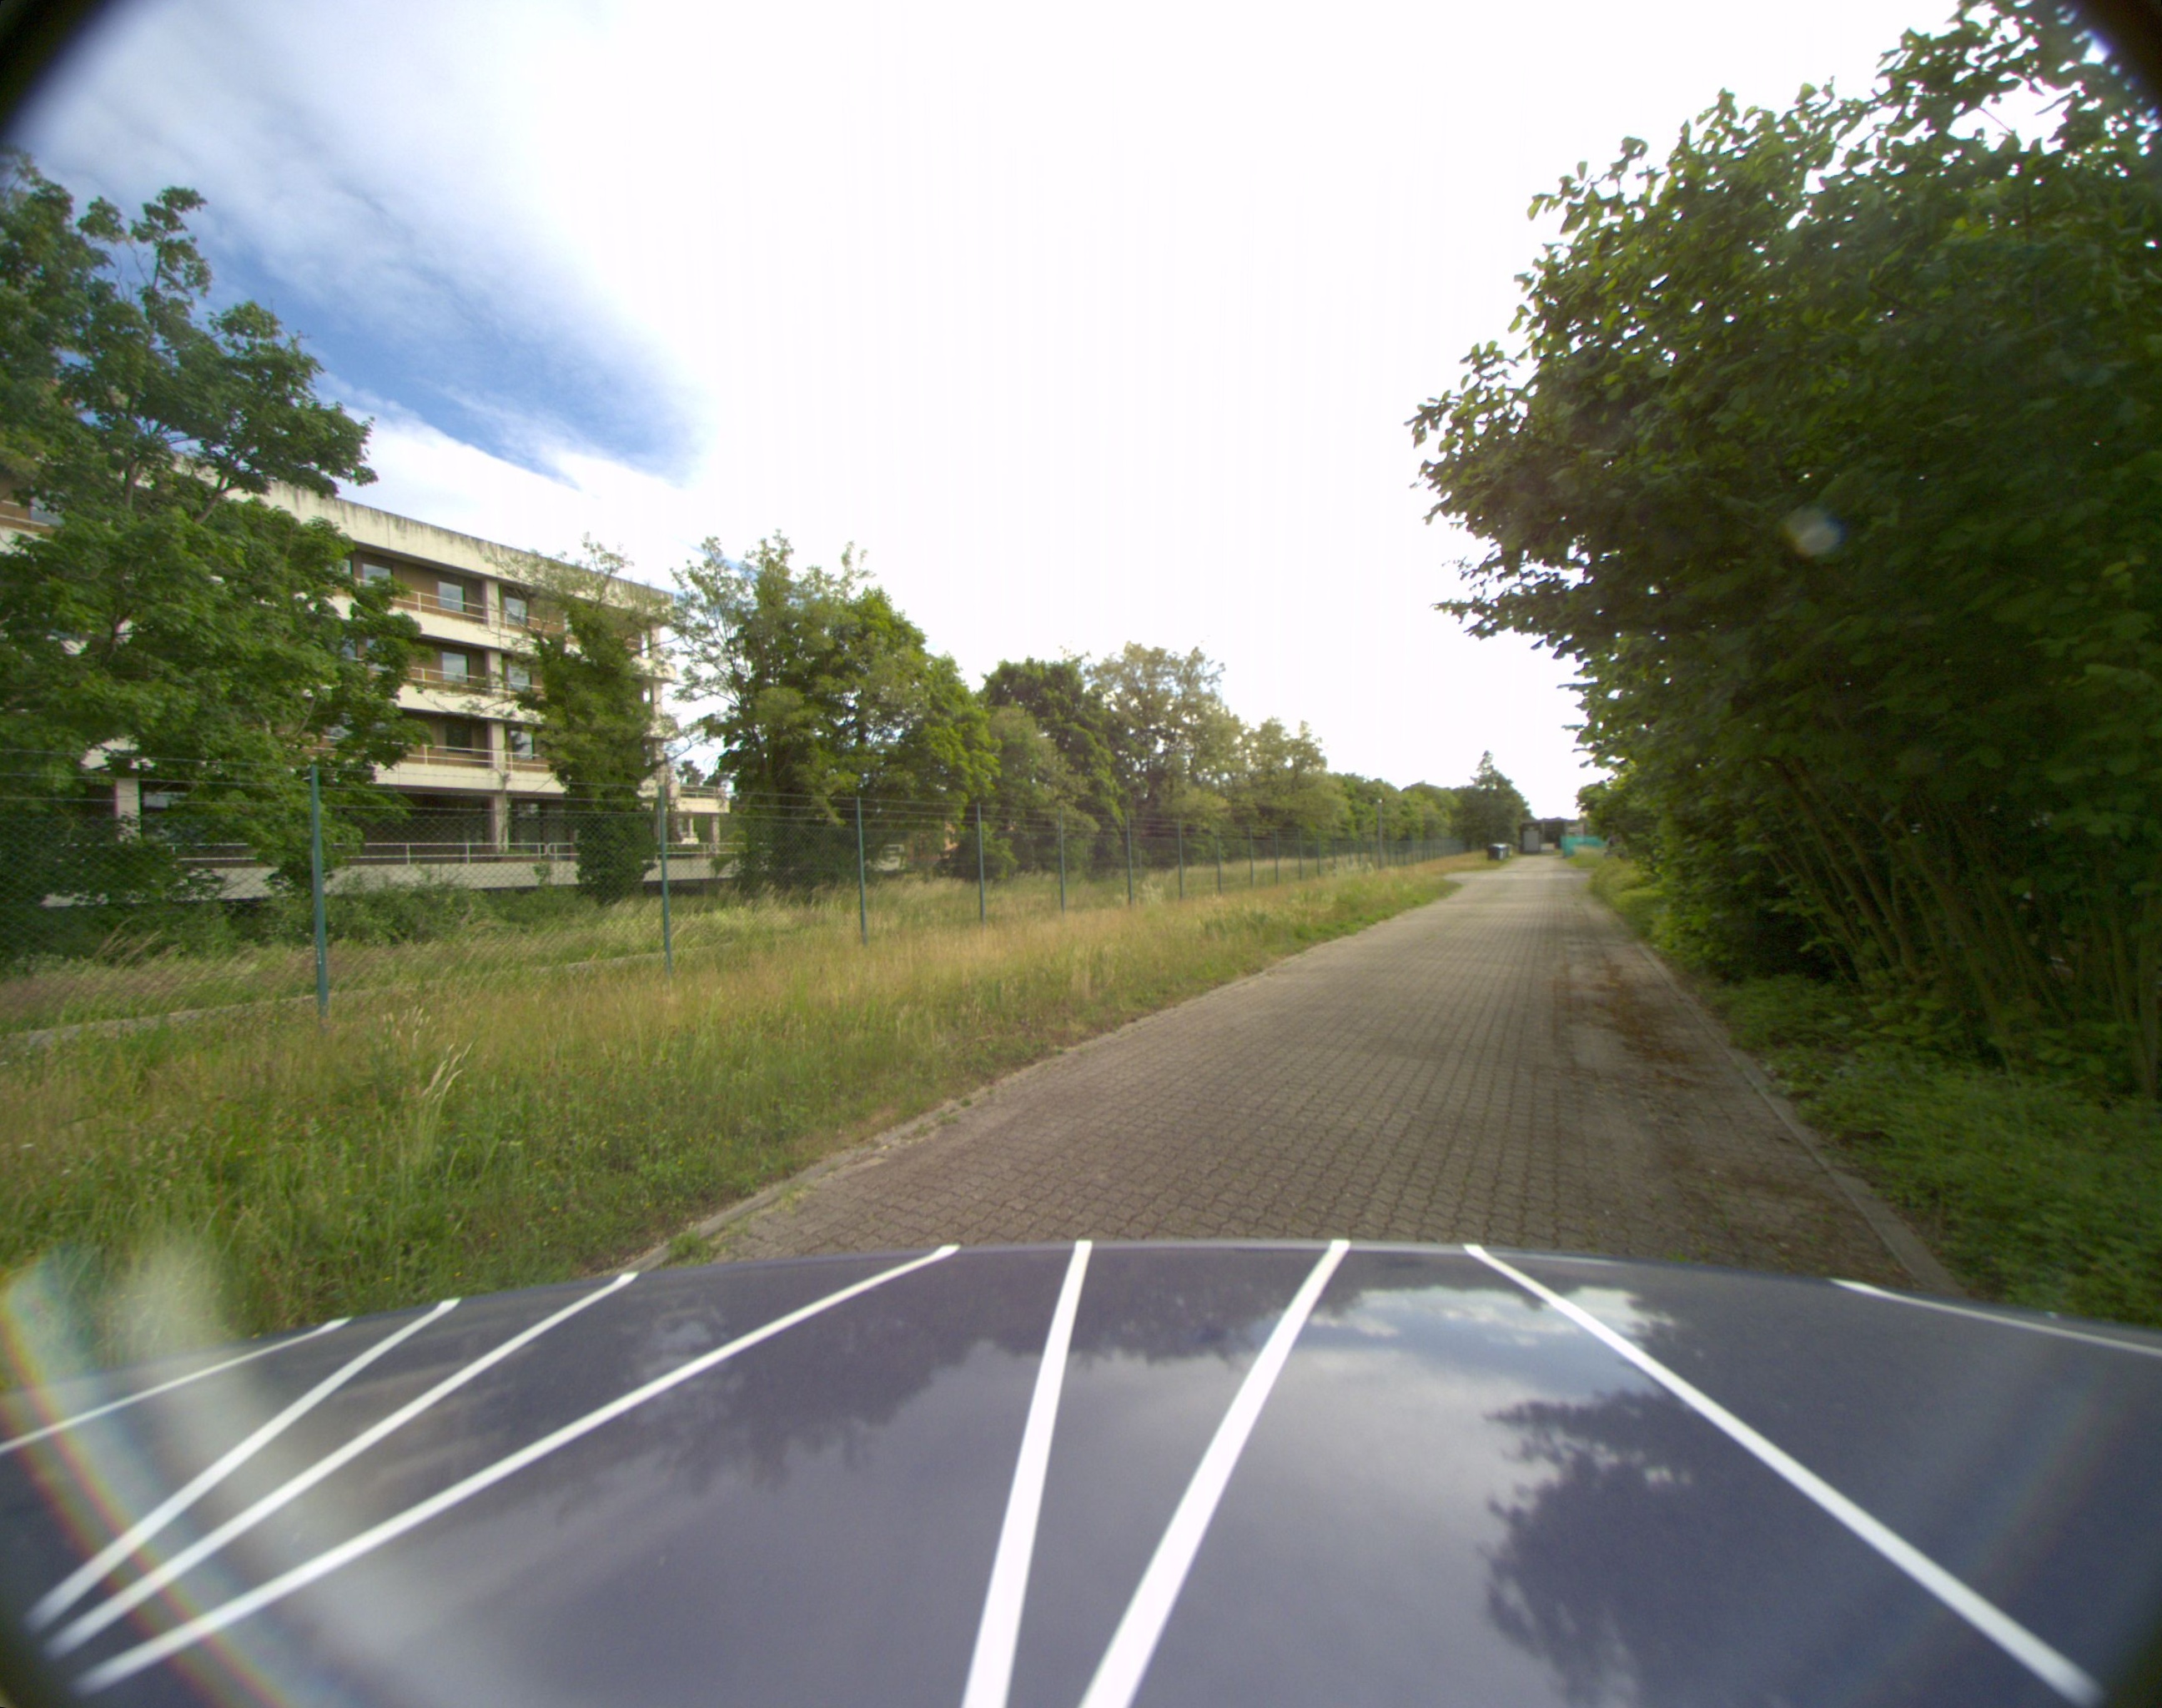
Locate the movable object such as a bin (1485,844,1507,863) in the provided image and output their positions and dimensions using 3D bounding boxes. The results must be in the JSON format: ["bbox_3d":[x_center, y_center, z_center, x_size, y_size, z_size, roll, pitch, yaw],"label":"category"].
[{"bbox_3d":[33.339,-0.022,61.048,1.435,1.489,1.836,-1,0,32],"label":"movable object such as a bin"}]
